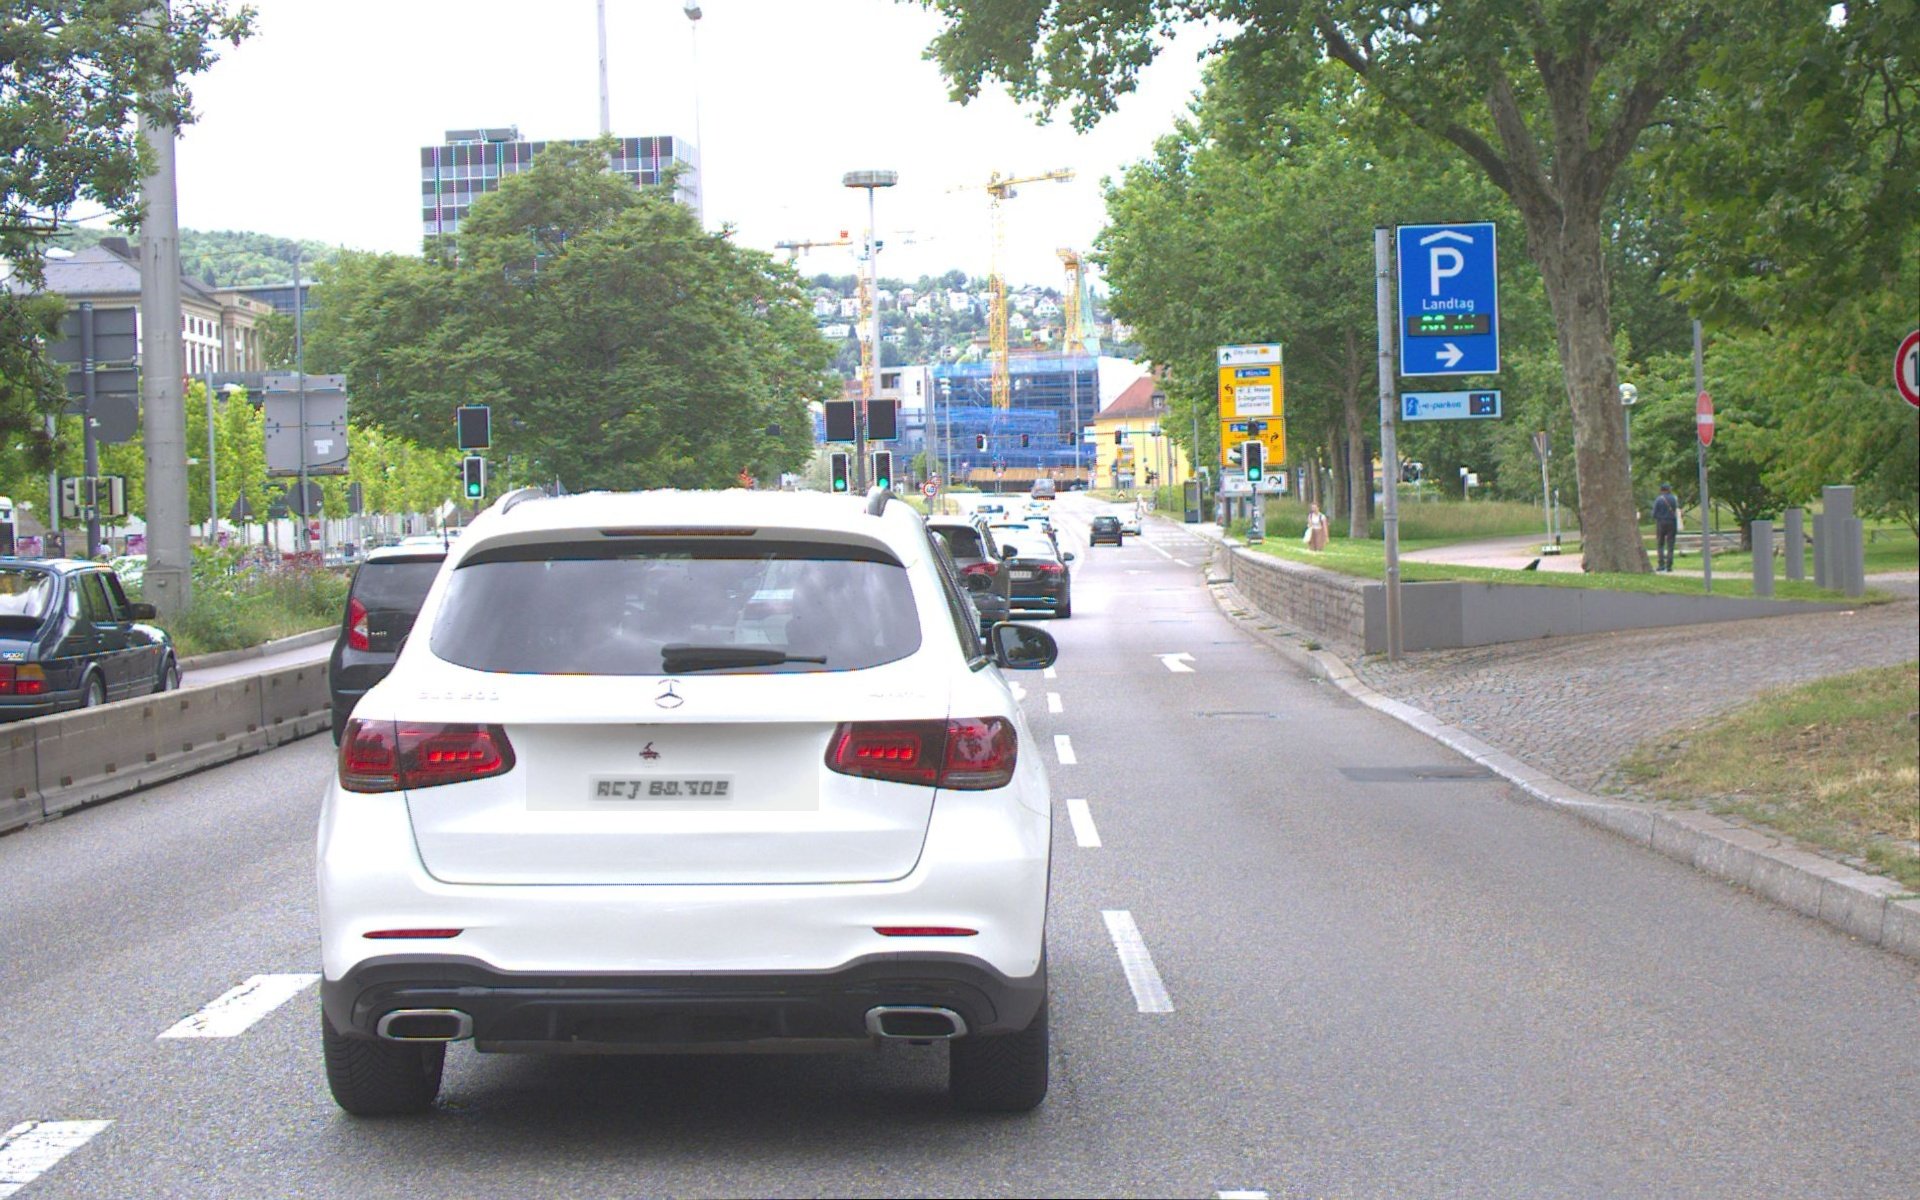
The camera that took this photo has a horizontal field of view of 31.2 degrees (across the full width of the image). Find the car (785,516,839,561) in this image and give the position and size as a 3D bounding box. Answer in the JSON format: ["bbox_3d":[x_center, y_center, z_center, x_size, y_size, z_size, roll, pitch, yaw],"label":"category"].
[{"bbox_3d":[-5.128,-2.138,119.227,1.659,1.508,3.547,-1,1,1],"label":"car"}]

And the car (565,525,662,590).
[{"bbox_3d":[-8.009,-1.006,79.726,1.776,1.415,4.000,-1,2,1],"label":"car"}]

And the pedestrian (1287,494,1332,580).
[{"bbox_3d":[8.236,-1.492,81.017,0.761,2.007,0.697,-1,1,36],"label":"pedestrian"}]

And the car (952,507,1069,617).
[{"bbox_3d":[0.812,-0.661,57.952,1.825,1.746,4.000,-1,1,-1],"label":"car"}]

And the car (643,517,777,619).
[{"bbox_3d":[-3.663,-0.490,50.959,1.797,1.432,4.021,-1,1,-2],"label":"car"}]

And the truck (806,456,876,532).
[{"bbox_3d":[-4.554,-4.053,132.566,2.621,2.851,7.079,0,1,-1],"label":"truck"}]

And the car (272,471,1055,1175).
[{"bbox_3d":[-0.626,0.475,10.150,1.788,1.619,4.437,0,1,2],"label":"car"}]

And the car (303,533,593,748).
[{"bbox_3d":[-3.767,0.248,25.811,1.608,1.468,3.622,-1,1,0],"label":"car"}]

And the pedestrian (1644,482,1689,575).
[{"bbox_3d":[13.214,-1.337,64.305,0.759,1.719,0.699,-1,1,8],"label":"pedestrian"}]

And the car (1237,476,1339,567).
[{"bbox_3d":[7.450,-1.778,78.483,1.993,2.007,4.000,-1,1,1],"label":"car"}]

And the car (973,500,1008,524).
[{"bbox_3d":[1.771,-5.076,198.169,1.947,1.315,4.017,-1,1,1],"label":"car"}]

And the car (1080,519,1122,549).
[{"bbox_3d":[6.871,-3.226,168.179,1.947,1.423,4.017,-1,1,1],"label":"car"}]

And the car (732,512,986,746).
[{"bbox_3d":[-0.750,0.157,26.229,1.795,1.603,3.755,0,2,-1],"label":"car"}]

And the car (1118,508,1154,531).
[{"bbox_3d":[10.277,-4.705,201.388,1.947,1.315,4.017,-1,1,1],"label":"car"}]

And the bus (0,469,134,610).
[{"bbox_3d":[-23.563,-1.450,82.919,3.667,3.194,14.274,-1,1,1],"label":"bus"}]

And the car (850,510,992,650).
[{"bbox_3d":[-0.442,-0.278,41.951,1.659,1.633,3.547,0,1,1],"label":"car"}]

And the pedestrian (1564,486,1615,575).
[{"bbox_3d":[11.492,-1.262,62.783,0.660,1.605,0.641,-2,1,-18],"label":"pedestrian"}]

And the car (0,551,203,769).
[{"bbox_3d":[-6.716,0.371,24.459,1.678,1.362,4.543,-1,1,-1],"label":"car"}]

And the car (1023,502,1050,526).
[{"bbox_3d":[5.373,-6.064,241.588,1.758,1.663,4.168,-1,1,0],"label":"car"}]

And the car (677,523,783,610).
[{"bbox_3d":[-4.429,-0.664,66.886,1.851,1.622,4.907,-1,1,-2],"label":"car"}]

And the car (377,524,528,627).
[{"bbox_3d":[-7.392,-0.374,50.359,1.661,1.431,3.961,-1,1,-1],"label":"car"}]
